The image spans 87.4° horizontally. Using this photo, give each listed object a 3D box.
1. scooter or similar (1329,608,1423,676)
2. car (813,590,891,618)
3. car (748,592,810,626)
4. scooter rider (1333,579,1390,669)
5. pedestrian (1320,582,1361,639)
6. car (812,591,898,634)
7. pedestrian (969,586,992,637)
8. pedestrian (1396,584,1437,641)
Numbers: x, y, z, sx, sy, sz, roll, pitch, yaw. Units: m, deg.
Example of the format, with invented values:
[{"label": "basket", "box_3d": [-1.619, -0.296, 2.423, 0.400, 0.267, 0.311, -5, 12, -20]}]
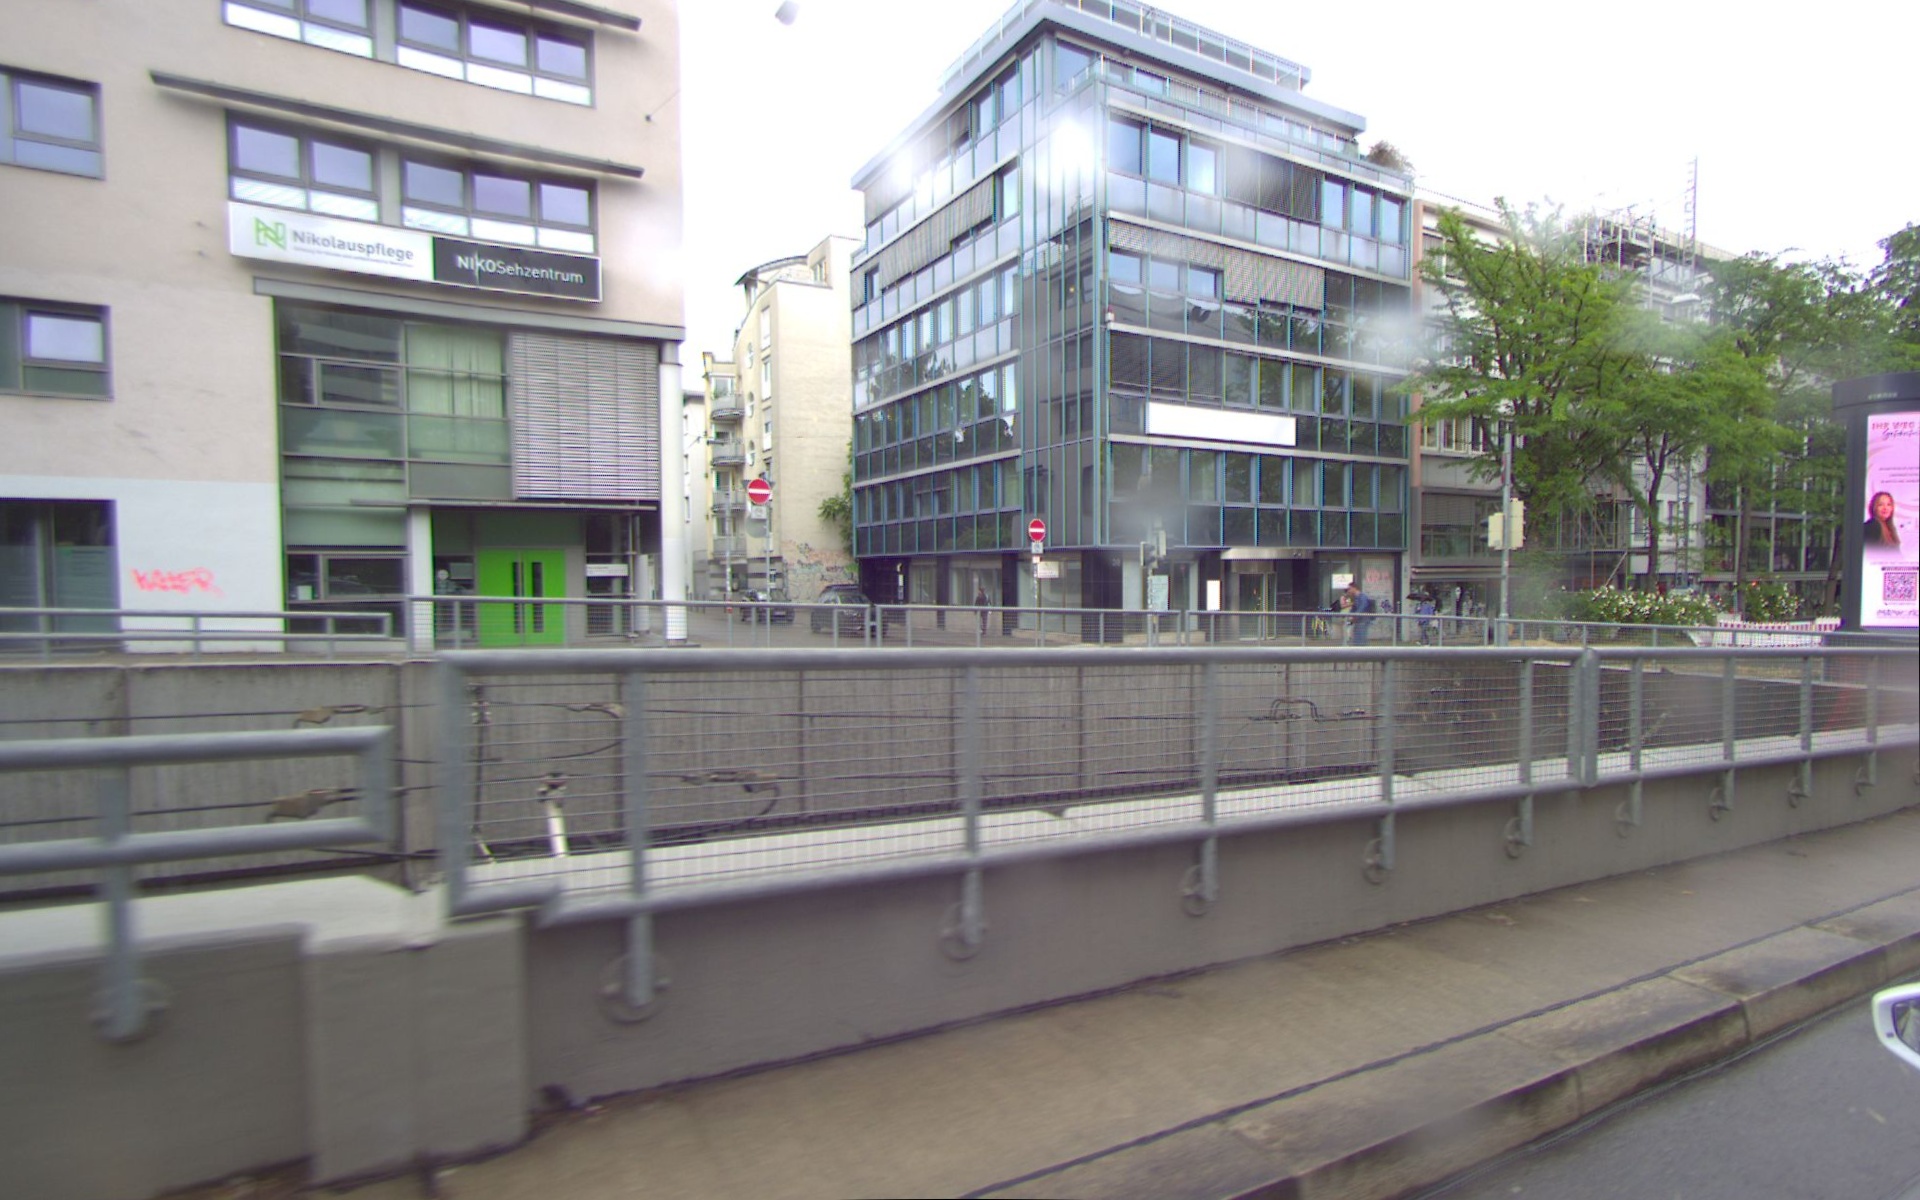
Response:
[{"label": "scooter or similar", "box_3d": [9.308, 0.938, 22.507, 1.920, 1.437, 0.546, 1, 1, -10]}, {"label": "car", "box_3d": [-5.903, 0.226, 54.979, 3.846, 1.445, 1.799, 1, 0, -27]}, {"label": "car", "box_3d": [-8.291, 0.384, 45.815, 1.672, 1.445, 3.868, 1, 0, -28]}, {"label": "scooter rider", "box_3d": [8.985, 0.530, 22.500, 0.808, 1.974, 0.809, 1, 1, -10]}, {"label": "pedestrian", "box_3d": [13.088, 0.355, 34.598, 0.943, 1.893, 0.865, 1, 1, -11]}, {"label": "car", "box_3d": [-3.858, 0.440, 36.431, 1.788, 1.445, 3.868, 1, 0, -28]}, {"label": "pedestrian", "box_3d": [0.692, 0.382, 33.637, 0.482, 1.694, 0.661, 1, 1, -30]}, {"label": "pedestrian", "box_3d": [15.434, 0.417, 33.956, 0.857, 1.893, 0.872, 1, 2, -32]}]
